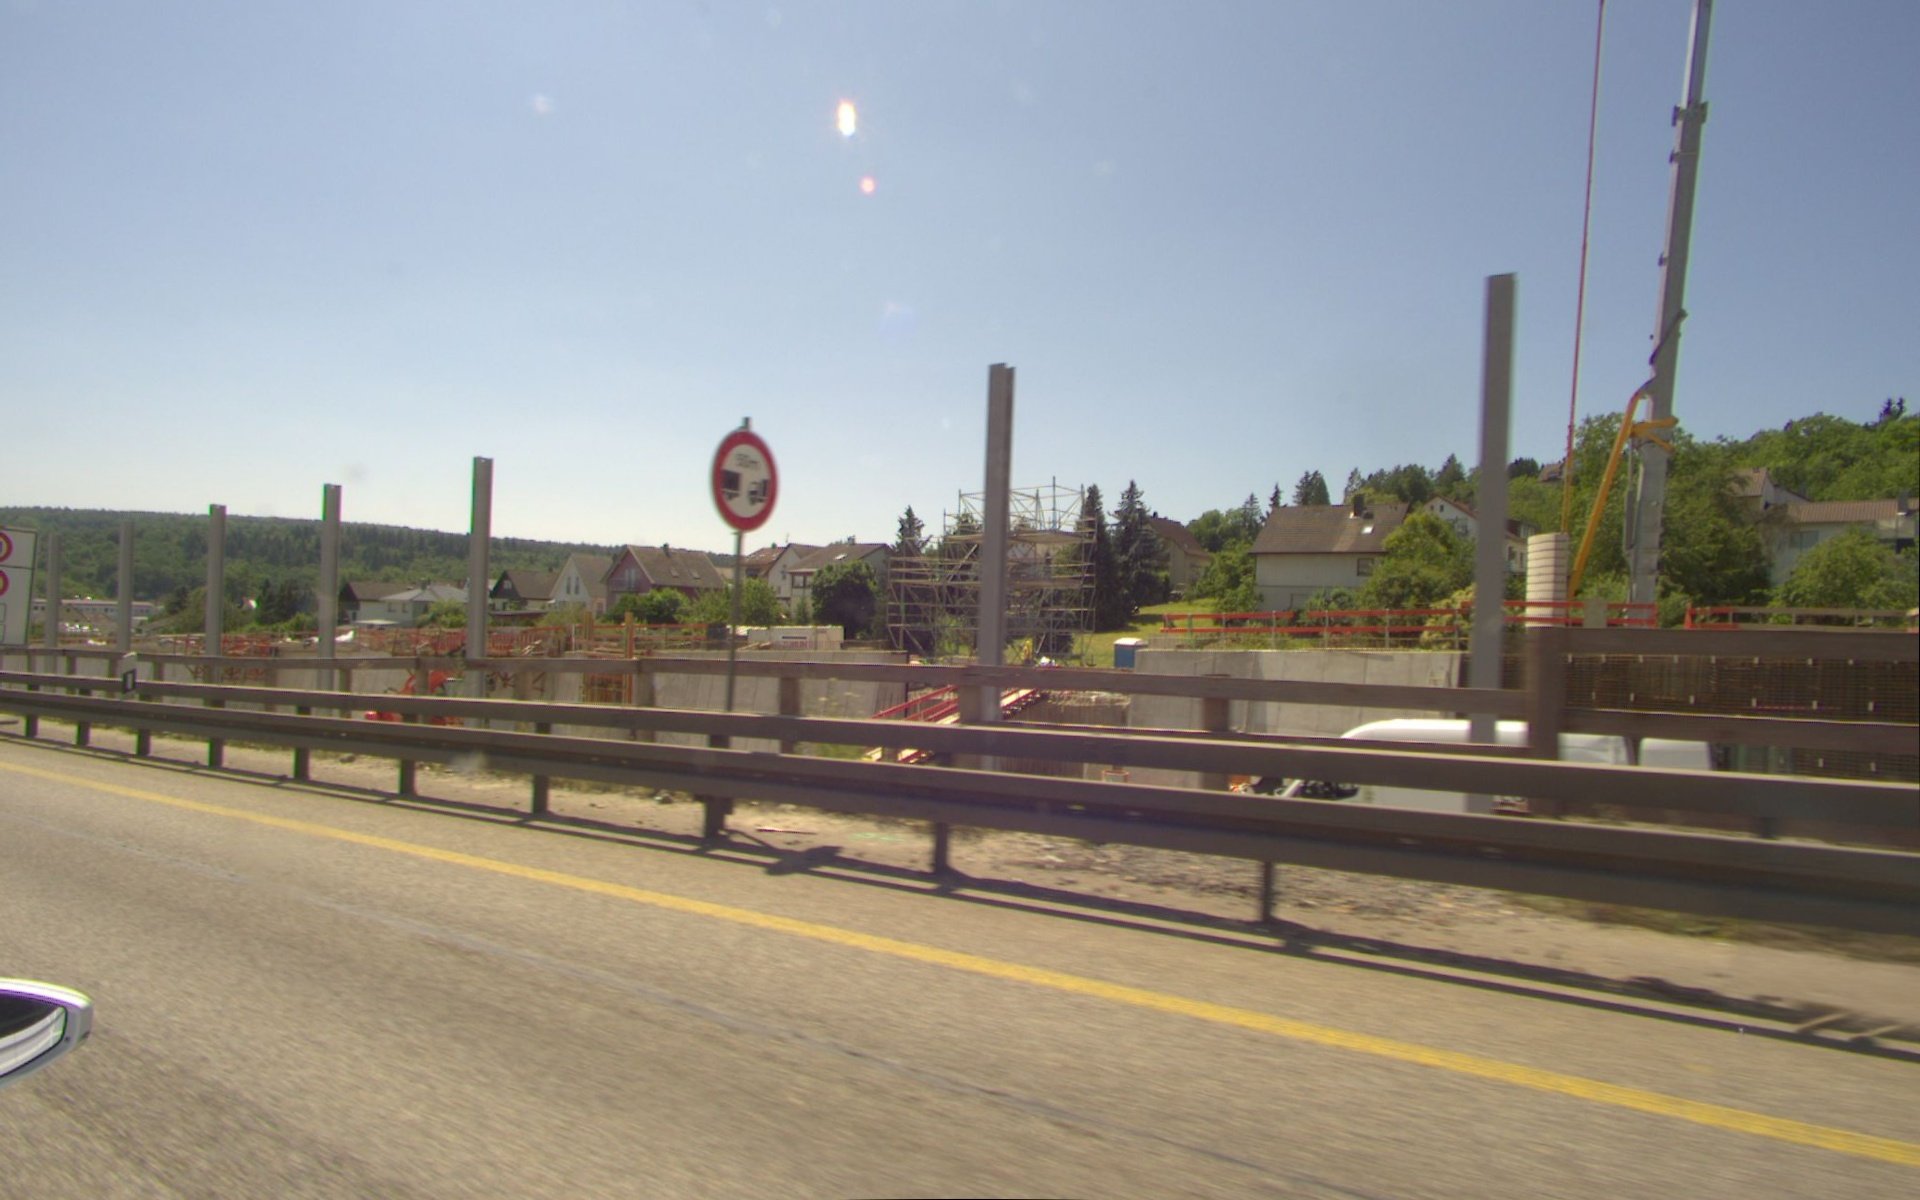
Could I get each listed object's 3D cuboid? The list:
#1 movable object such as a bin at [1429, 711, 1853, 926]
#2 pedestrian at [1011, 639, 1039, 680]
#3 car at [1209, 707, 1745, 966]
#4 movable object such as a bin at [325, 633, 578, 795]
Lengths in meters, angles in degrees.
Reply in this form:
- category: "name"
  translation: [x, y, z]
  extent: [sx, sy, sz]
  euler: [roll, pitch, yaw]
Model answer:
- category: "movable object such as a bin"
  translation: [10.930, 3.341, 16.535]
  extent: [5.430, 2.710, 2.138]
  euler: [-3, -2, 37]
- category: "pedestrian"
  translation: [3.283, 2.981, 50.451]
  extent: [0.960, 2.012, 1.134]
  euler: [-2, -2, 36]
- category: "car"
  translation: [7.558, 3.257, 15.399]
  extent: [6.932, 2.892, 2.139]
  euler: [-3, -2, 36]
- category: "movable object such as a bin"
  translation: [-17.328, 3.619, 33.834]
  extent: [9.519, 4.802, 3.222]
  euler: [-2, -2, 32]
